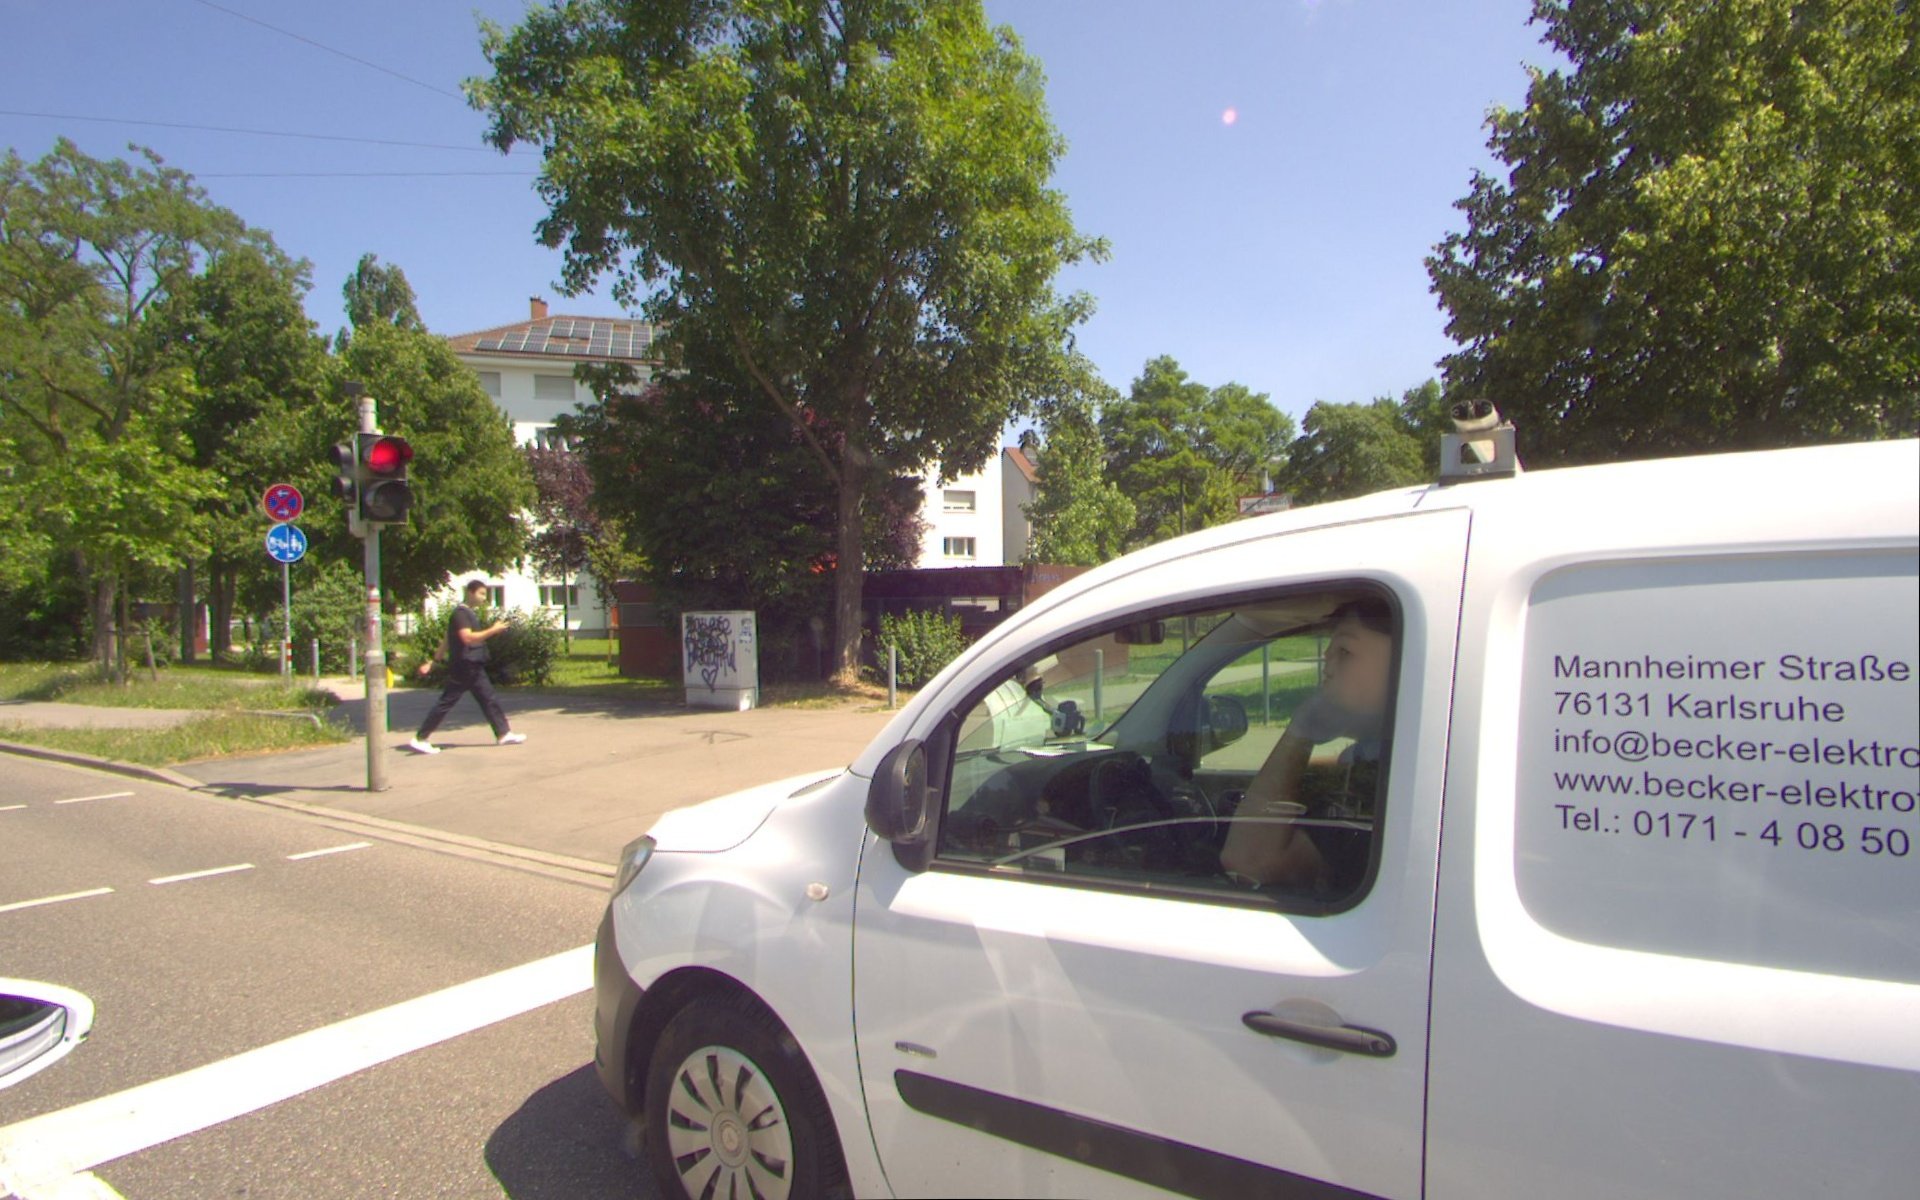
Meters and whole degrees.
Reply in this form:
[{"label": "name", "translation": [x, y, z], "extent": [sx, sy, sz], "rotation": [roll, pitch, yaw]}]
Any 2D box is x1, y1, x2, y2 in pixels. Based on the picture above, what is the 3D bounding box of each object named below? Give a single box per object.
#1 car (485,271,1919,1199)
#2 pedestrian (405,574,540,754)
[{"label": "car", "translation": [1.126, 0.567, 2.307], "extent": [4.384, 1.850, 1.990], "rotation": [-1, 0, 32]}, {"label": "pedestrian", "translation": [-5.267, 0.654, 10.815], "extent": [1.172, 1.801, 0.835], "rotation": [-2, 0, -32]}]
